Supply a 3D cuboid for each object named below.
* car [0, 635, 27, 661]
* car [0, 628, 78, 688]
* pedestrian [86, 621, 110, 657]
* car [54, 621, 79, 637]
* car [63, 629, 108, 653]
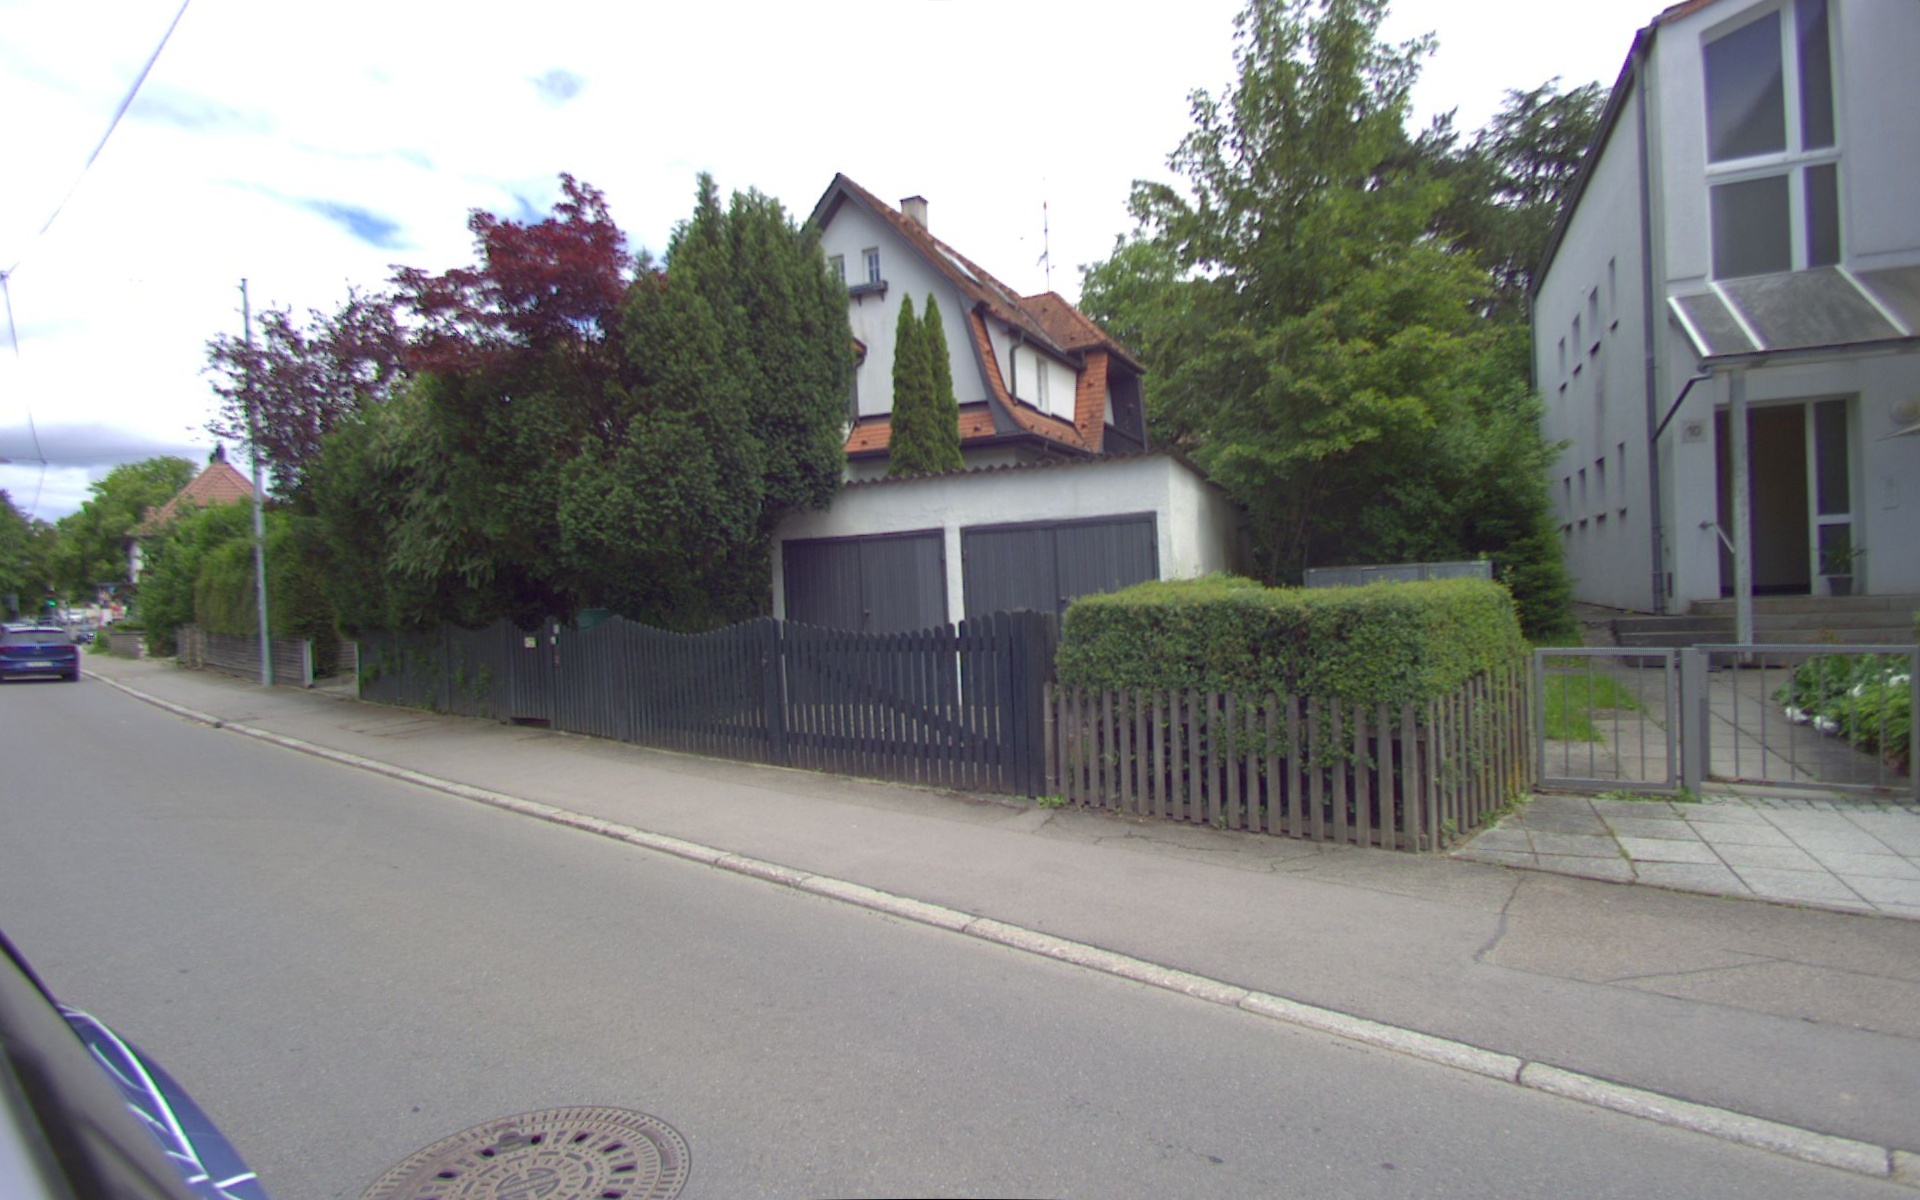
[{"bbox_3d":[-64.341,3.191,68.248,4.139,1.668,1.820,-1,-2,44],"label":"car"},{"bbox_3d":[-24.626,1.486,26.849,1.674,1.443,3.930,0,-2,-44],"label":"car"},{"bbox_3d":[-44.523,2.008,52.259,0.810,1.757,0.605,-5,3,-43],"label":"pedestrian"},{"bbox_3d":[-108.868,3.491,123.260,1.971,1.709,4.003,-5,3,-44],"label":"car"},{"bbox_3d":[-58.509,2.731,67.748,1.794,1.361,3.401,-5,3,-33],"label":"car"}]
